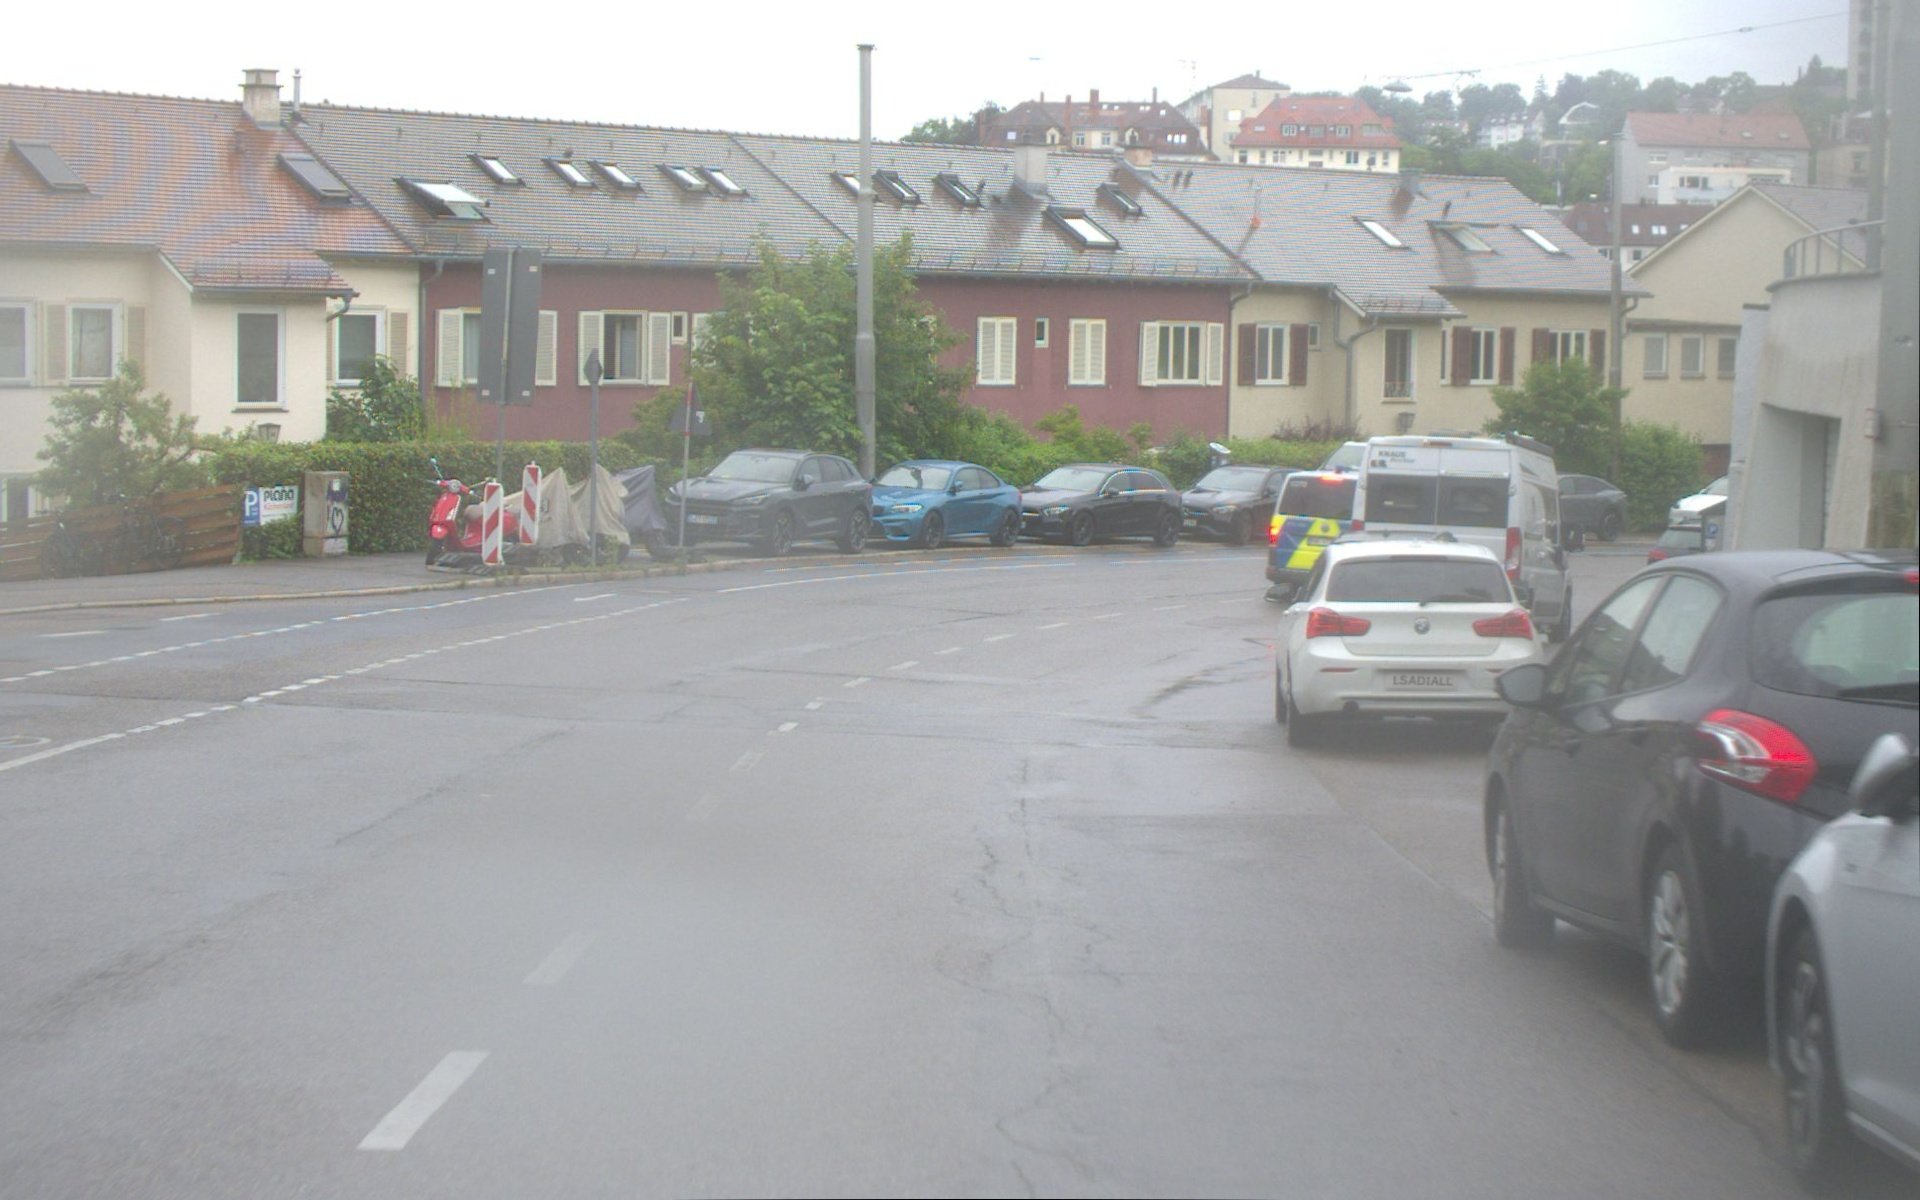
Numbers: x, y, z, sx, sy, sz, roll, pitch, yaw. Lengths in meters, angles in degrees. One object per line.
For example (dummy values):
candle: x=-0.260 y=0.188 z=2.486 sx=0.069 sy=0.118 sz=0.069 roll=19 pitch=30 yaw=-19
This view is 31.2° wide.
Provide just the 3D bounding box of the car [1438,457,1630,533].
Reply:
car: x=12.706 y=-2.302 z=75.963 sx=4.510 sy=1.471 sz=1.813 roll=0 pitch=5 yaw=-45

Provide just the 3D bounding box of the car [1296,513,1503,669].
car: x=4.796 y=-0.149 z=37.124 sx=1.754 sy=1.490 sz=4.182 roll=2 pitch=2 yaw=13

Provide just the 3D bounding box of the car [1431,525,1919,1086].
car: x=2.785 y=0.520 z=11.325 sx=1.713 sy=1.508 sz=4.001 roll=0 pitch=1 yaw=-3

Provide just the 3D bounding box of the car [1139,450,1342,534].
car: x=5.491 y=-2.092 z=66.917 sx=1.812 sy=1.471 sz=4.513 roll=6 pitch=5 yaw=35

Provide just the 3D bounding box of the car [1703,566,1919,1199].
car: x=2.723 y=0.668 z=6.277 sx=1.781 sy=1.415 sz=4.430 roll=0 pitch=1 yaw=0

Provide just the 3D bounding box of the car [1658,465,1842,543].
car: x=18.765 y=-2.266 z=81.554 sx=4.665 sy=1.625 sz=1.935 roll=0 pitch=5 yaw=-44

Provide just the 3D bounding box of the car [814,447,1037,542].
car: x=-0.533 y=-1.797 z=57.688 sx=1.702 sy=1.399 sz=4.466 roll=6 pitch=5 yaw=28

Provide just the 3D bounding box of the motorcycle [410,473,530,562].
motorcycle: x=-6.441 y=-1.099 z=45.277 sx=0.510 sy=1.136 sz=1.919 roll=2 pitch=3 yaw=29

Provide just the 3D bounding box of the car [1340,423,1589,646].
car: x=6.316 y=-0.828 z=42.449 sx=2.101 sy=2.533 sz=5.615 roll=2 pitch=2 yaw=18

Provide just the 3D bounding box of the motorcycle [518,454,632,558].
motorcycle: x=-5.360 y=-1.316 z=47.797 sx=0.611 sy=1.298 sz=1.807 roll=1 pitch=5 yaw=-39

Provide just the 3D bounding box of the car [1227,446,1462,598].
car: x=5.778 y=-1.211 z=51.228 sx=2.311 sy=1.932 sz=4.321 roll=6 pitch=5 yaw=21

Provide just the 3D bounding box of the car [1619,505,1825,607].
car: x=12.478 y=-0.734 z=56.131 sx=1.682 sy=1.478 sz=4.193 roll=6 pitch=4 yaw=35

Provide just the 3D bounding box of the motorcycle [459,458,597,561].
motorcycle: x=-5.894 y=-1.243 z=46.878 sx=1.804 sy=1.274 sz=0.510 roll=4 pitch=4 yaw=22

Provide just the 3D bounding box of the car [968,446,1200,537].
car: x=2.294 y=-1.944 z=62.329 sx=1.812 sy=1.471 sz=4.512 roll=7 pitch=5 yaw=38

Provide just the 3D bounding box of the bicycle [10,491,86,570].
bicycle: x=-12.550 y=-0.950 z=47.296 sx=1.327 sy=1.031 sz=0.304 roll=-1 pitch=-2 yaw=41

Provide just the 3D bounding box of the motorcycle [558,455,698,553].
motorcycle: x=-4.755 y=-1.371 z=49.194 sx=1.900 sy=1.266 sz=0.576 roll=3 pitch=4 yaw=-9

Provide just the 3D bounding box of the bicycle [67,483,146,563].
bicycle: x=-11.509 y=-1.033 z=46.343 sx=1.302 sy=1.031 sz=0.304 roll=-1 pitch=-2 yaw=39

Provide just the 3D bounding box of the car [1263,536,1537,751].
car: x=3.146 y=0.254 z=25.219 sx=1.705 sy=1.409 sz=4.041 roll=1 pitch=1 yaw=4

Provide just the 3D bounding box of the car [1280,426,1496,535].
car: x=8.953 y=-2.466 z=71.592 sx=1.853 sy=2.071 sz=5.008 roll=7 pitch=5 yaw=41

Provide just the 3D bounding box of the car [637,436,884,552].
car: x=-3.024 y=-1.671 z=53.047 sx=1.924 sy=1.571 sz=4.383 roll=6 pitch=5 yaw=24
